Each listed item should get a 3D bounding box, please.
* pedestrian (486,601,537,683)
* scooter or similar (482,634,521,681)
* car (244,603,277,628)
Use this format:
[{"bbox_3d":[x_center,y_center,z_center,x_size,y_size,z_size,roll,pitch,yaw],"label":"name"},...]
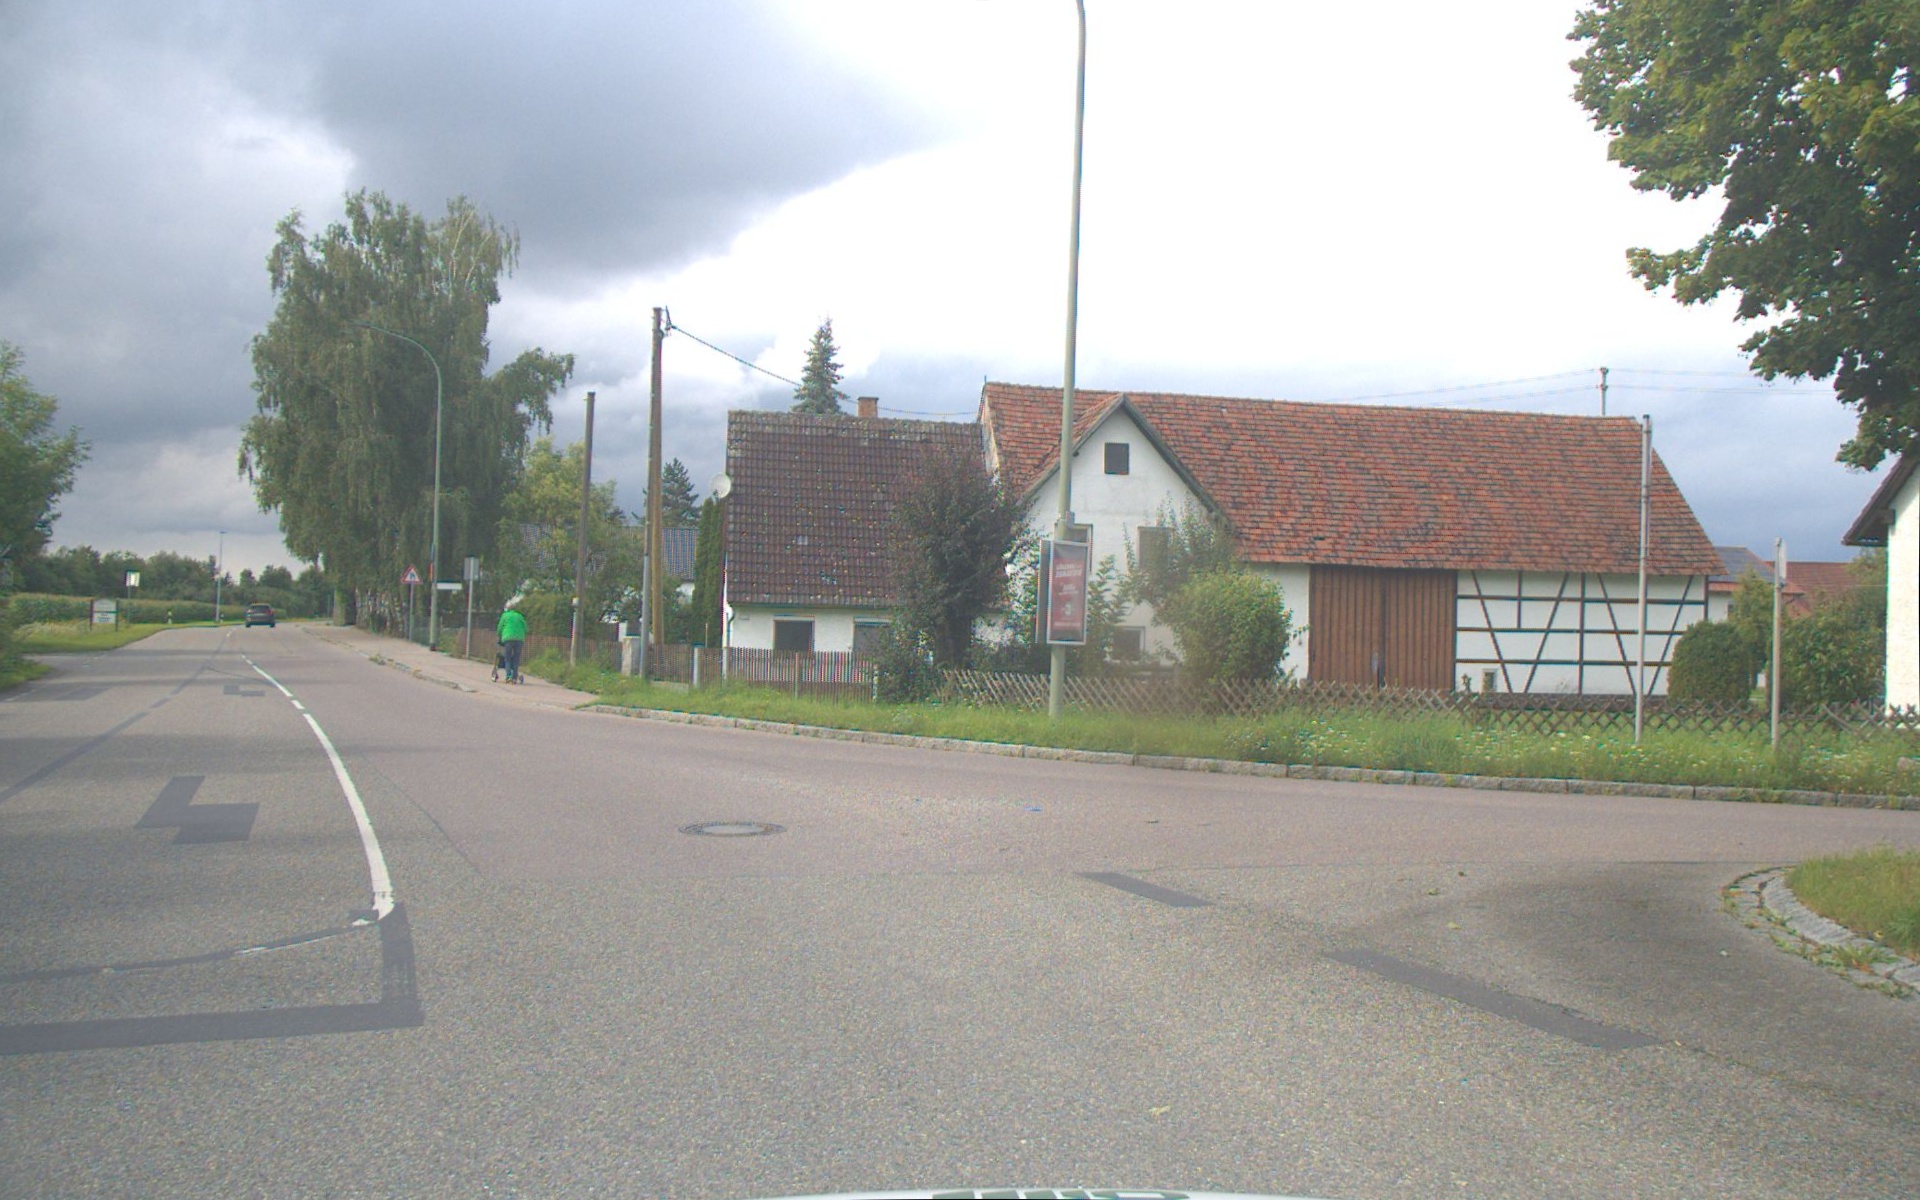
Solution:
[{"bbox_3d":[-9.722,0.913,35.877,0.779,1.694,0.706,6,-3,-28],"label":"pedestrian"},{"bbox_3d":[-10.131,1.279,36.546,0.623,0.964,0.616,6,-3,-28],"label":"scooter or similar"},{"bbox_3d":[-47.491,1.024,112.268,1.967,1.579,3.971,2,-1,-23],"label":"car"}]
